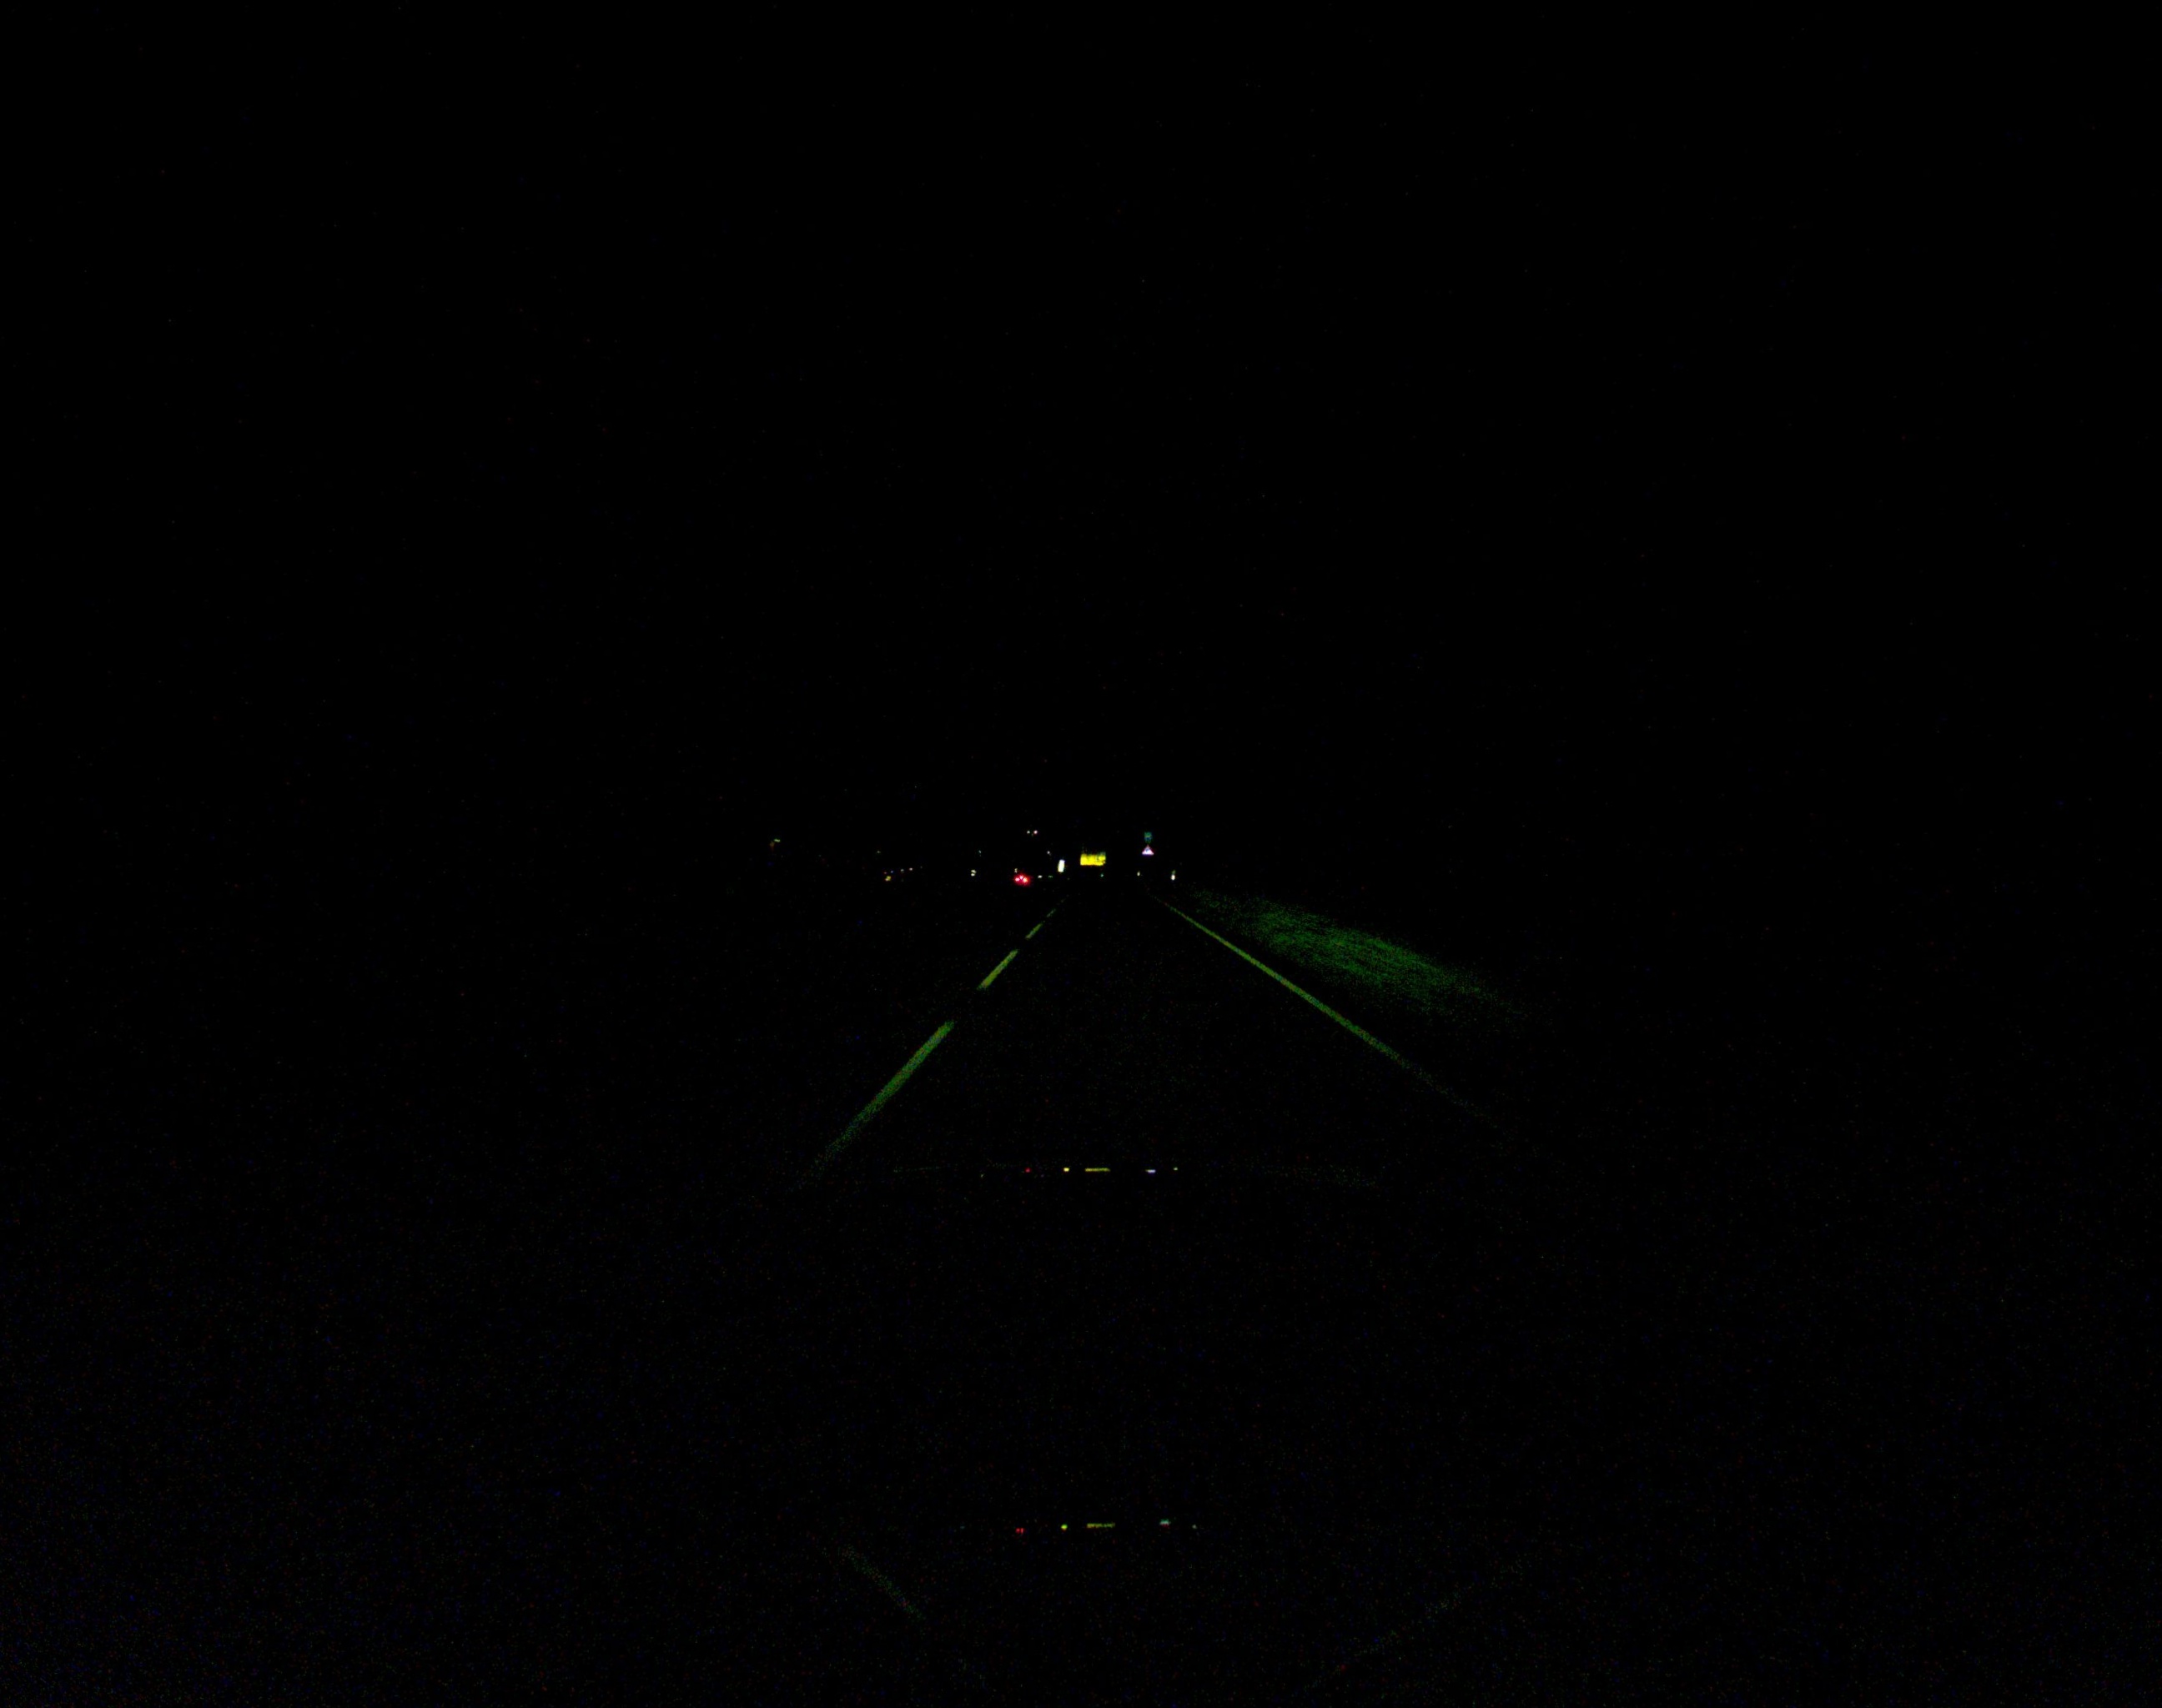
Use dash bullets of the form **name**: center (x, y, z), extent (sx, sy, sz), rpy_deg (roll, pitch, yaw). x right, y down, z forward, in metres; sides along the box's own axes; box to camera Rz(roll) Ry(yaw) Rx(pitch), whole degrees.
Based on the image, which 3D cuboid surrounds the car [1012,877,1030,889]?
- **car**: center (-10.496, 5.068, 142.372), extent (2.000, 2.014, 3.973), rpy_deg (4, -3, -19)
